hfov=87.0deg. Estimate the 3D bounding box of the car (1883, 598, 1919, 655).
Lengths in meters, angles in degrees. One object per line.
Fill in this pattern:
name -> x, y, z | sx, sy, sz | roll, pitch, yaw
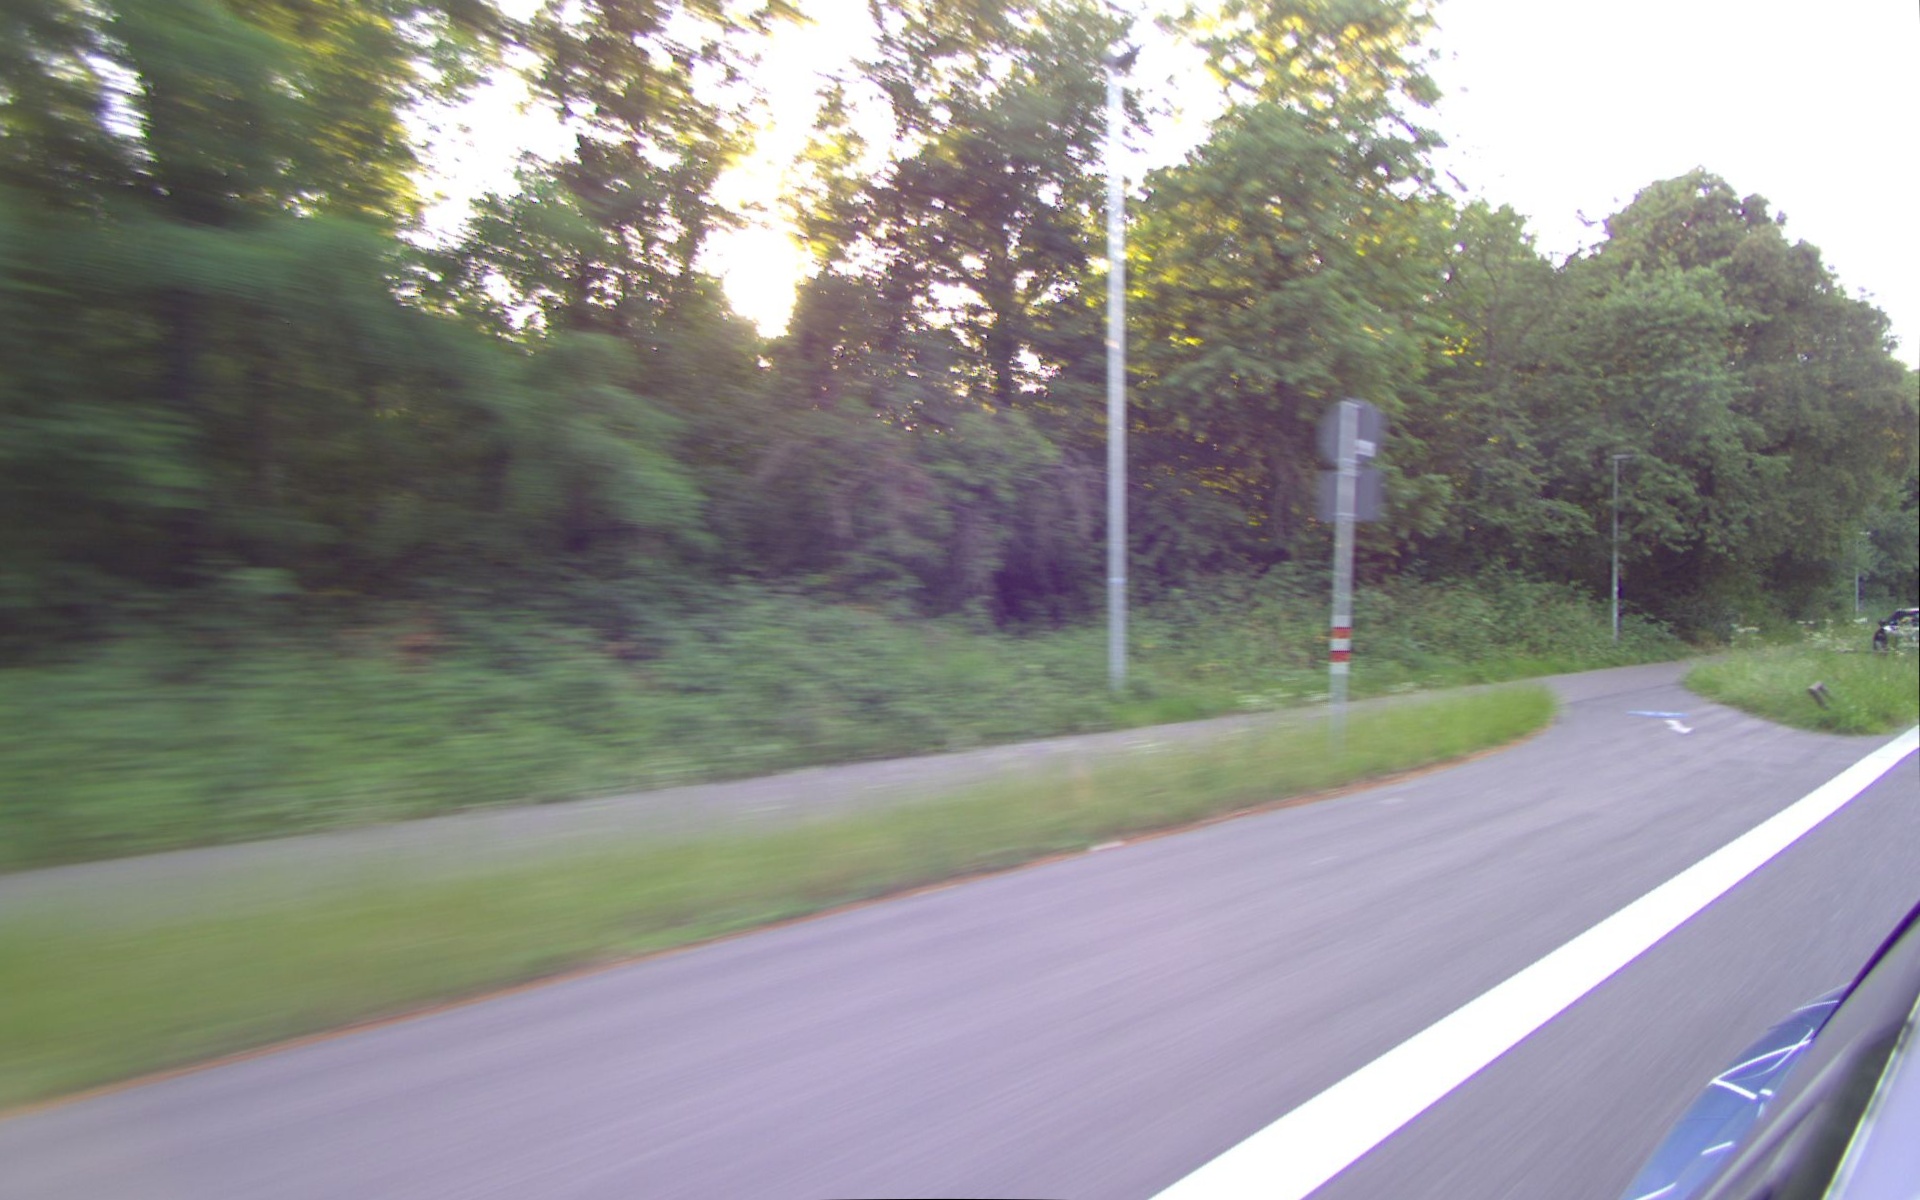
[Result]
car -> 26.213, 0.692, 27.125 | 4.050, 1.463, 1.714 | 0, 0, -41
